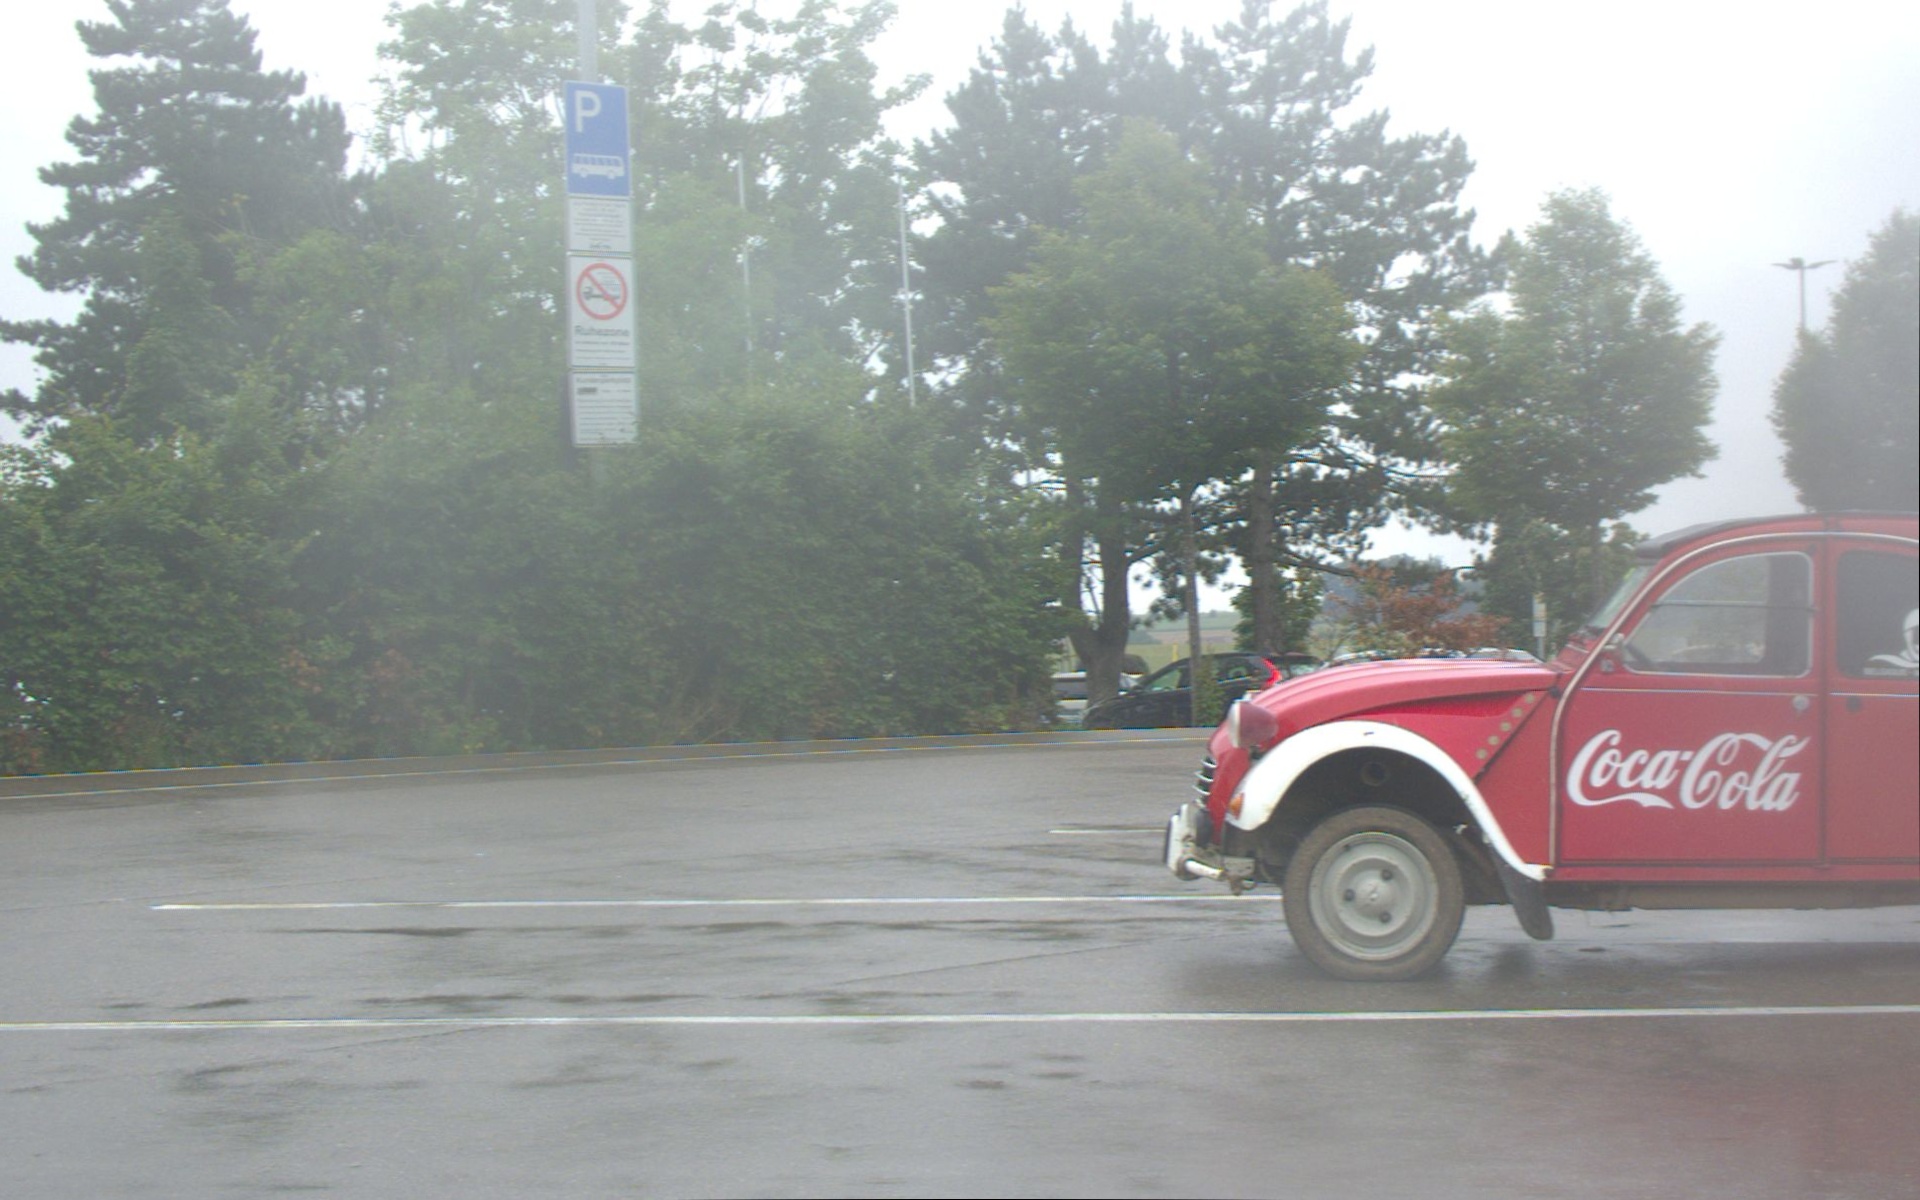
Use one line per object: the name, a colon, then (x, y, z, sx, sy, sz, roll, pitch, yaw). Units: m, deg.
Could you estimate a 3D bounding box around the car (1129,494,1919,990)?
car: (2.665, 0.437, 11.599, 4.044, 1.550, 1.549, -1, 1, 8)
